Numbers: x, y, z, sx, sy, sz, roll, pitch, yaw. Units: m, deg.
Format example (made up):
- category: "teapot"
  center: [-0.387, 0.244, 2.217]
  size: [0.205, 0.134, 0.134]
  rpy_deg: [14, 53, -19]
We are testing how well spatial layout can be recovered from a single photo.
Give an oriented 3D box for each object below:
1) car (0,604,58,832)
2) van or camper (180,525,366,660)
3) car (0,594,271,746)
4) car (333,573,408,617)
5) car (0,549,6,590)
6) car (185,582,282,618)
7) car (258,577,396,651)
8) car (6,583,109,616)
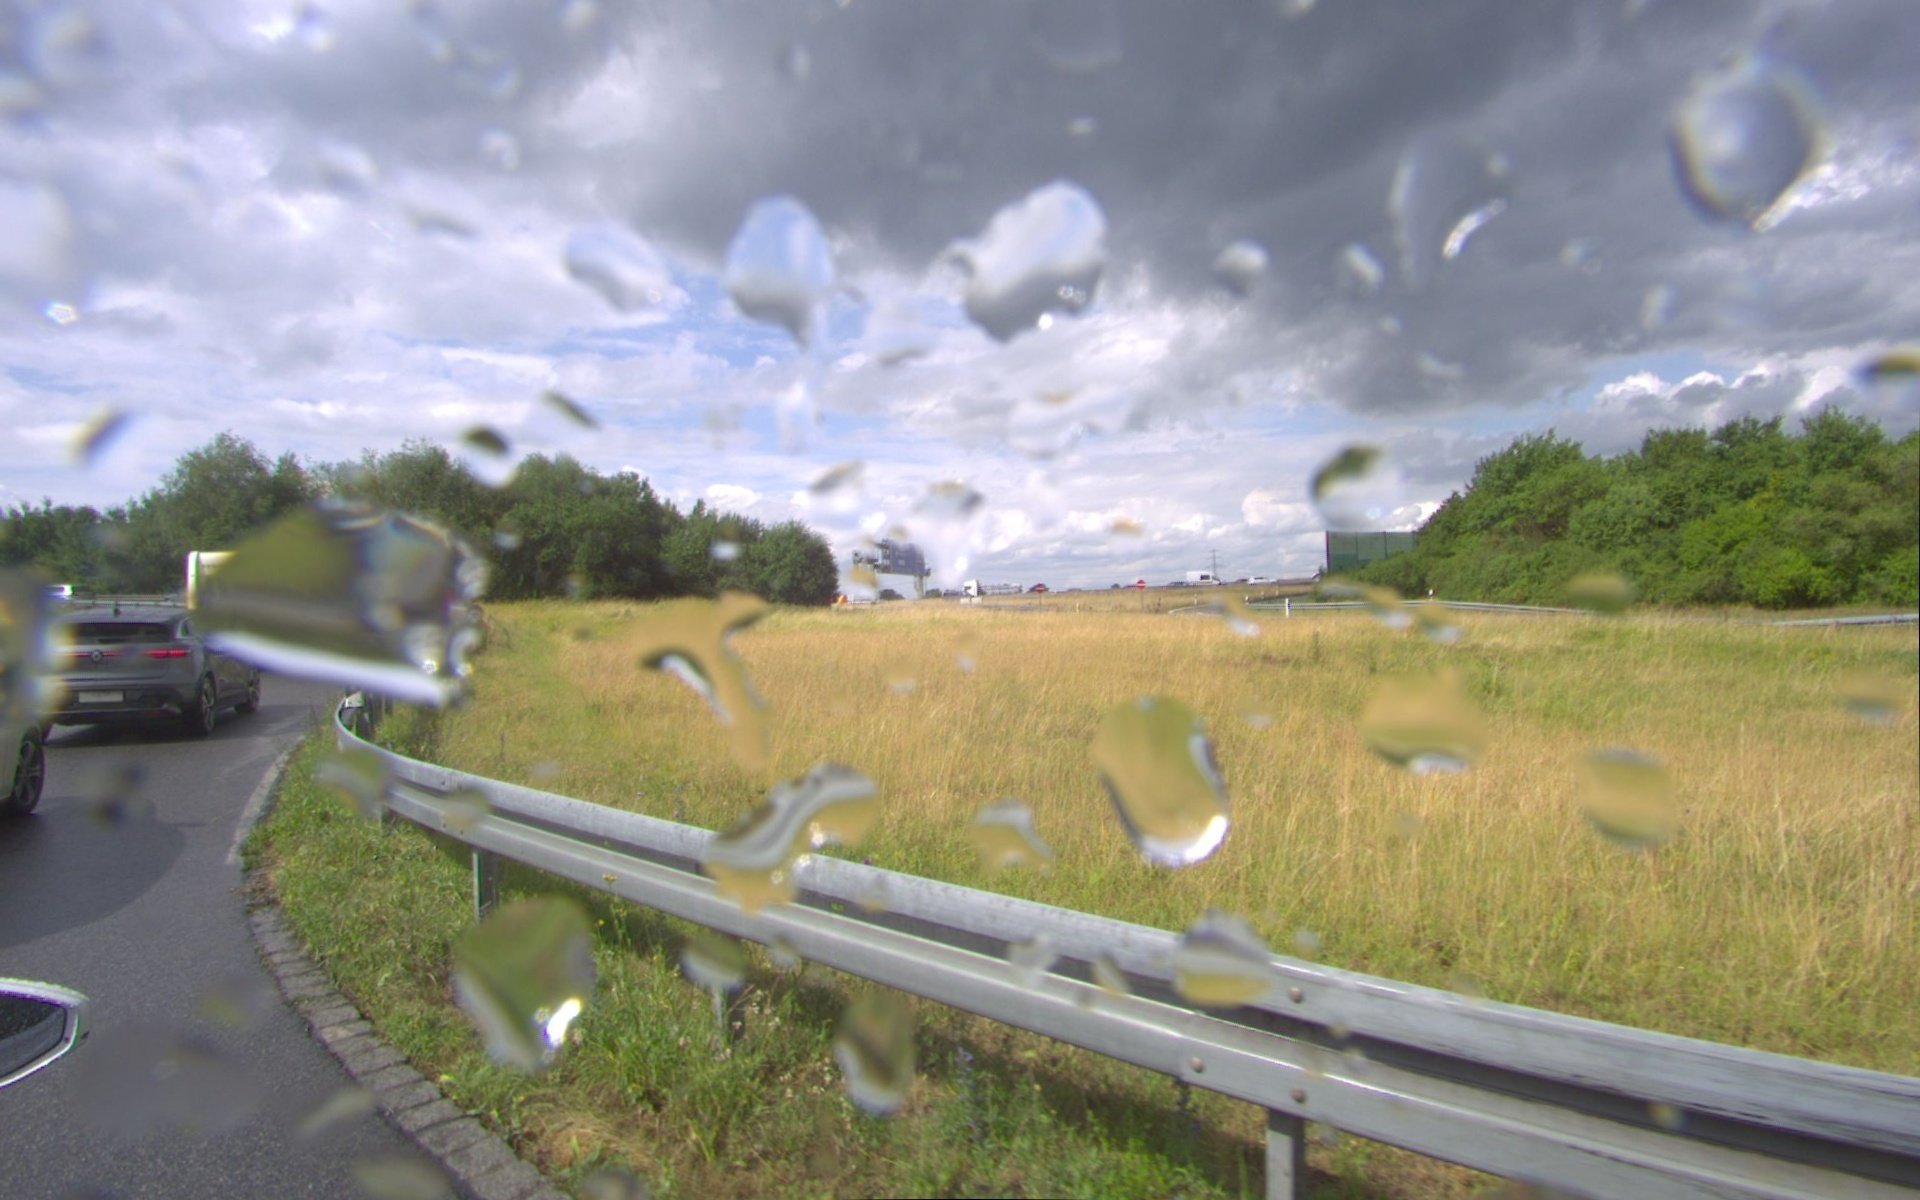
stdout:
- category: "car"
  center: [-6.865, 0.778, 5.600]
  size: [1.896, 1.527, 4.569]
  rpy_deg: [0, 0, -32]
- category: "van or camper"
  center: [-16.041, -0.088, 23.819]
  size: [2.398, 2.765, 5.984]
  rpy_deg: [0, -1, -22]
- category: "car"
  center: [-10.193, 0.775, 12.671]
  size: [1.696, 1.545, 3.986]
  rpy_deg: [-2, 0, -25]
- category: "car"
  center: [-27.635, -0.212, 46.874]
  size: [1.979, 1.886, 5.011]
  rpy_deg: [-2, 0, -42]
- category: "car"
  center: [-64.464, -1.932, 62.397]
  size: [6.850, 2.630, 2.873]
  rpy_deg: [0, 1, -6]
- category: "car"
  center: [-42.270, -0.004, 58.248]
  size: [4.968, 1.886, 1.996]
  rpy_deg: [-2, 0, 19]
- category: "car"
  center: [-18.271, 0.325, 29.259]
  size: [2.396, 1.951, 5.741]
  rpy_deg: [0, 1, -22]
- category: "car"
  center: [-56.061, -0.040, 62.235]
  size: [4.961, 1.886, 1.999]
  rpy_deg: [-2, 0, 9]
